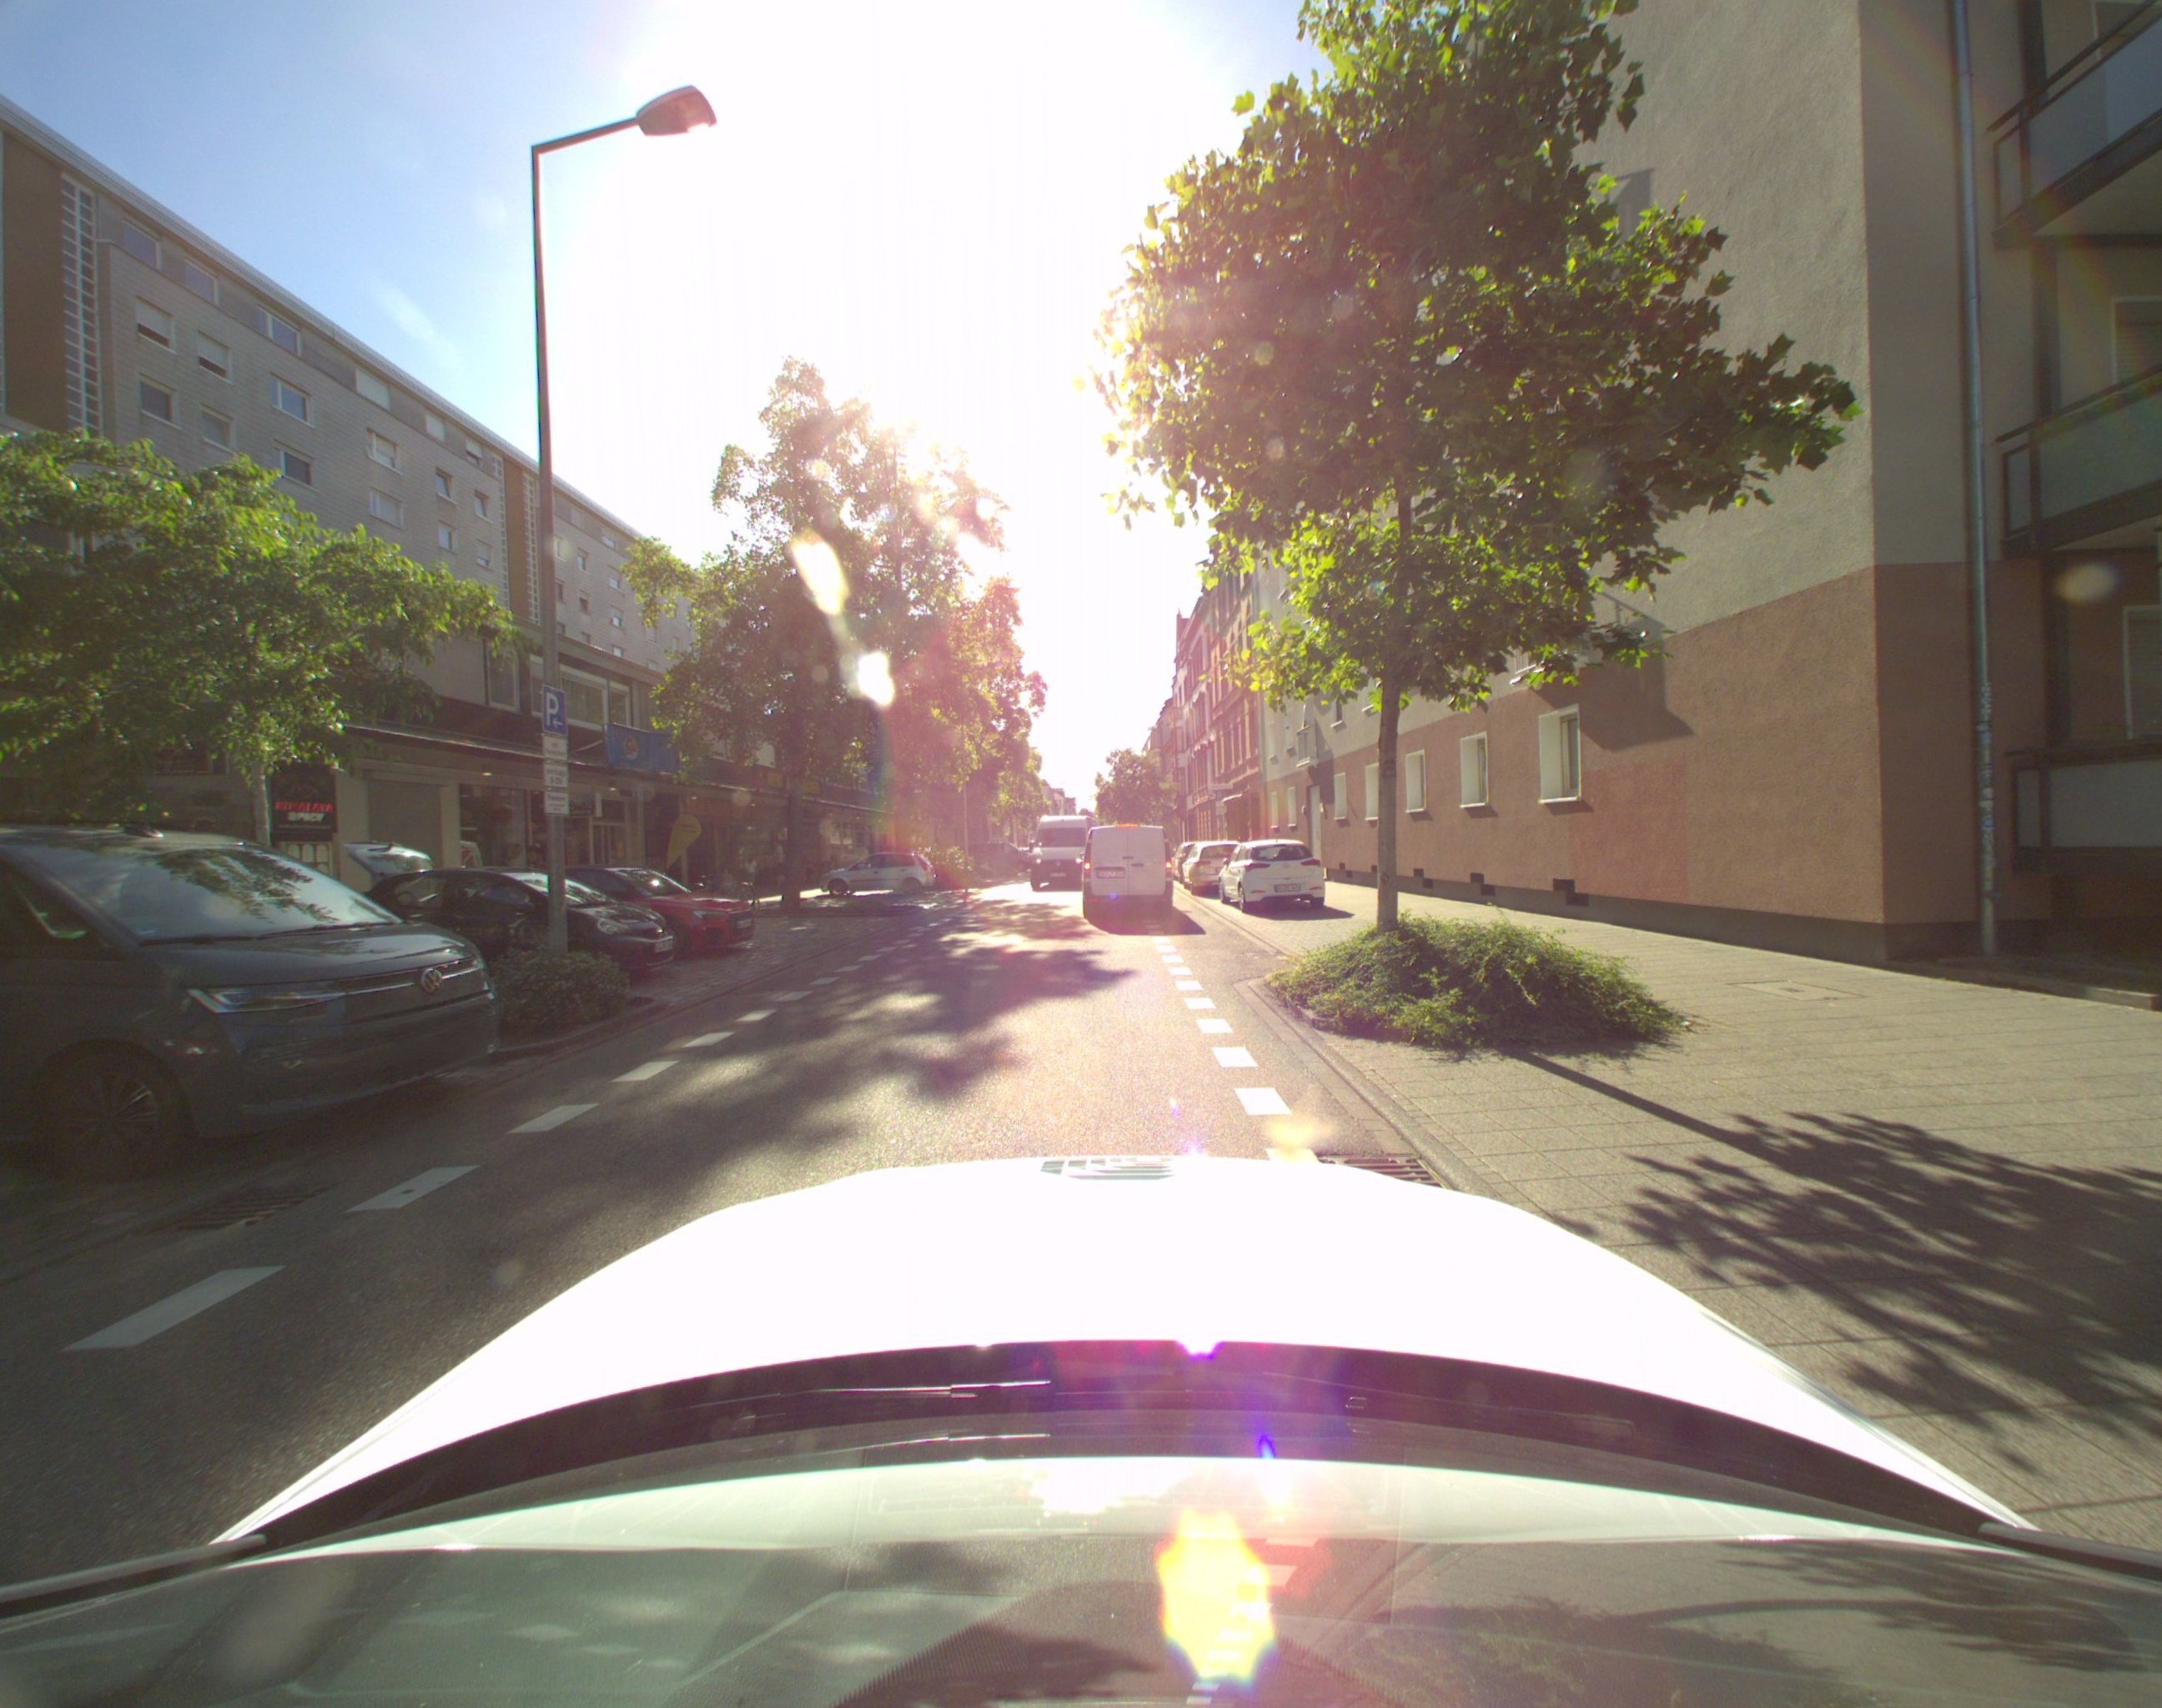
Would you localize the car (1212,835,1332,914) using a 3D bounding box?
[{"bbox_3d":[4.180,0.392,18.393,1.726,1.486,3.794,-4,1,0],"label":"car"}]

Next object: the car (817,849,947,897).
[{"bbox_3d":[-6.776,0.623,28.063,3.974,1.457,1.860,-2,1,-1],"label":"car"}]

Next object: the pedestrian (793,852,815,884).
[{"bbox_3d":[-11.942,0.605,35.154,0.721,1.330,0.703,-1,0,-2],"label":"pedestrian"}]

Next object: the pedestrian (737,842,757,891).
[{"bbox_3d":[-12.235,0.447,29.835,0.483,1.782,0.427,-2,0,-2],"label":"pedestrian"}]

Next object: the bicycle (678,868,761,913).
[{"bbox_3d":[-9.163,0.917,20.680,1.860,1.106,0.587,0,0,3],"label":"bicycle"}]

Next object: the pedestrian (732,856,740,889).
[{"bbox_3d":[-13.014,0.705,30.711,0.212,1.244,0.215,-1,0,2],"label":"pedestrian"}]

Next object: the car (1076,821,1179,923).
[{"bbox_3d":[0.993,0.302,17.873,1.913,1.914,4.891,-1,1,2],"label":"car"}]

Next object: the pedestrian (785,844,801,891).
[{"bbox_3d":[-10.587,0.506,29.938,0.389,1.705,0.502,-1,0,2],"label":"pedestrian"}]

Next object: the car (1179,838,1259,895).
[{"bbox_3d":[4.027,0.320,24.426,1.778,1.460,4.520,-3,1,3],"label":"car"}]

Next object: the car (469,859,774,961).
[{"bbox_3d":[-7.171,0.842,12.929,3.897,1.450,1.713,-1,1,6],"label":"car"}]

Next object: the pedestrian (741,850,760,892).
[{"bbox_3d":[-11.825,0.586,29.124,0.467,1.473,0.420,-2,0,-2],"label":"pedestrian"}]

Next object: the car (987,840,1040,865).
[{"bbox_3d":[-5.405,-0.132,65.761,3.967,2.013,2.003,0,1,5],"label":"car"}]

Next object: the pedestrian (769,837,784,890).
[{"bbox_3d":[-11.267,0.347,30.169,0.389,1.934,0.361,-1,0,2],"label":"pedestrian"}]

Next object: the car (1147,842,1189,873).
[{"bbox_3d":[4.428,0.164,42.016,1.733,1.451,4.000,-2,1,0],"label":"car"}]

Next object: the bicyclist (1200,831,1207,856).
[{"bbox_3d":[7.195,-0.605,48.007,0.359,1.477,0.531,-1,0,6],"label":"bicyclist"}]

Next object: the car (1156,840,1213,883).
[{"bbox_3d":[3.866,0.250,30.971,1.703,1.480,3.711,-2,0,1],"label":"car"}]

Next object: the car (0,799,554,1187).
[{"bbox_3d":[-6.401,0.710,5.048,5.012,1.938,1.873,-1,1,1],"label":"car"}]

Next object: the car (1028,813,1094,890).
[{"bbox_3d":[-0.613,-0.145,30.191,1.986,2.473,6.607,-2,1,2],"label":"car"}]

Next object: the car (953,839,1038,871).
[{"bbox_3d":[-5.518,0.079,52.974,5.274,1.974,2.015,-1,0,0],"label":"car"}]

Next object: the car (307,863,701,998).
[{"bbox_3d":[-6.955,0.879,10.120,3.657,1.450,1.612,-1,1,-3],"label":"car"}]

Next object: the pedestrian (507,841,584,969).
[{"bbox_3d":[-7.472,0.694,11.380,0.574,1.712,0.639,-2,0,29],"label":"pedestrian"}]

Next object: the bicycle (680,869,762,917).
[{"bbox_3d":[-8.702,0.925,19.707,1.711,1.117,0.623,0,0,3],"label":"bicycle"}]
